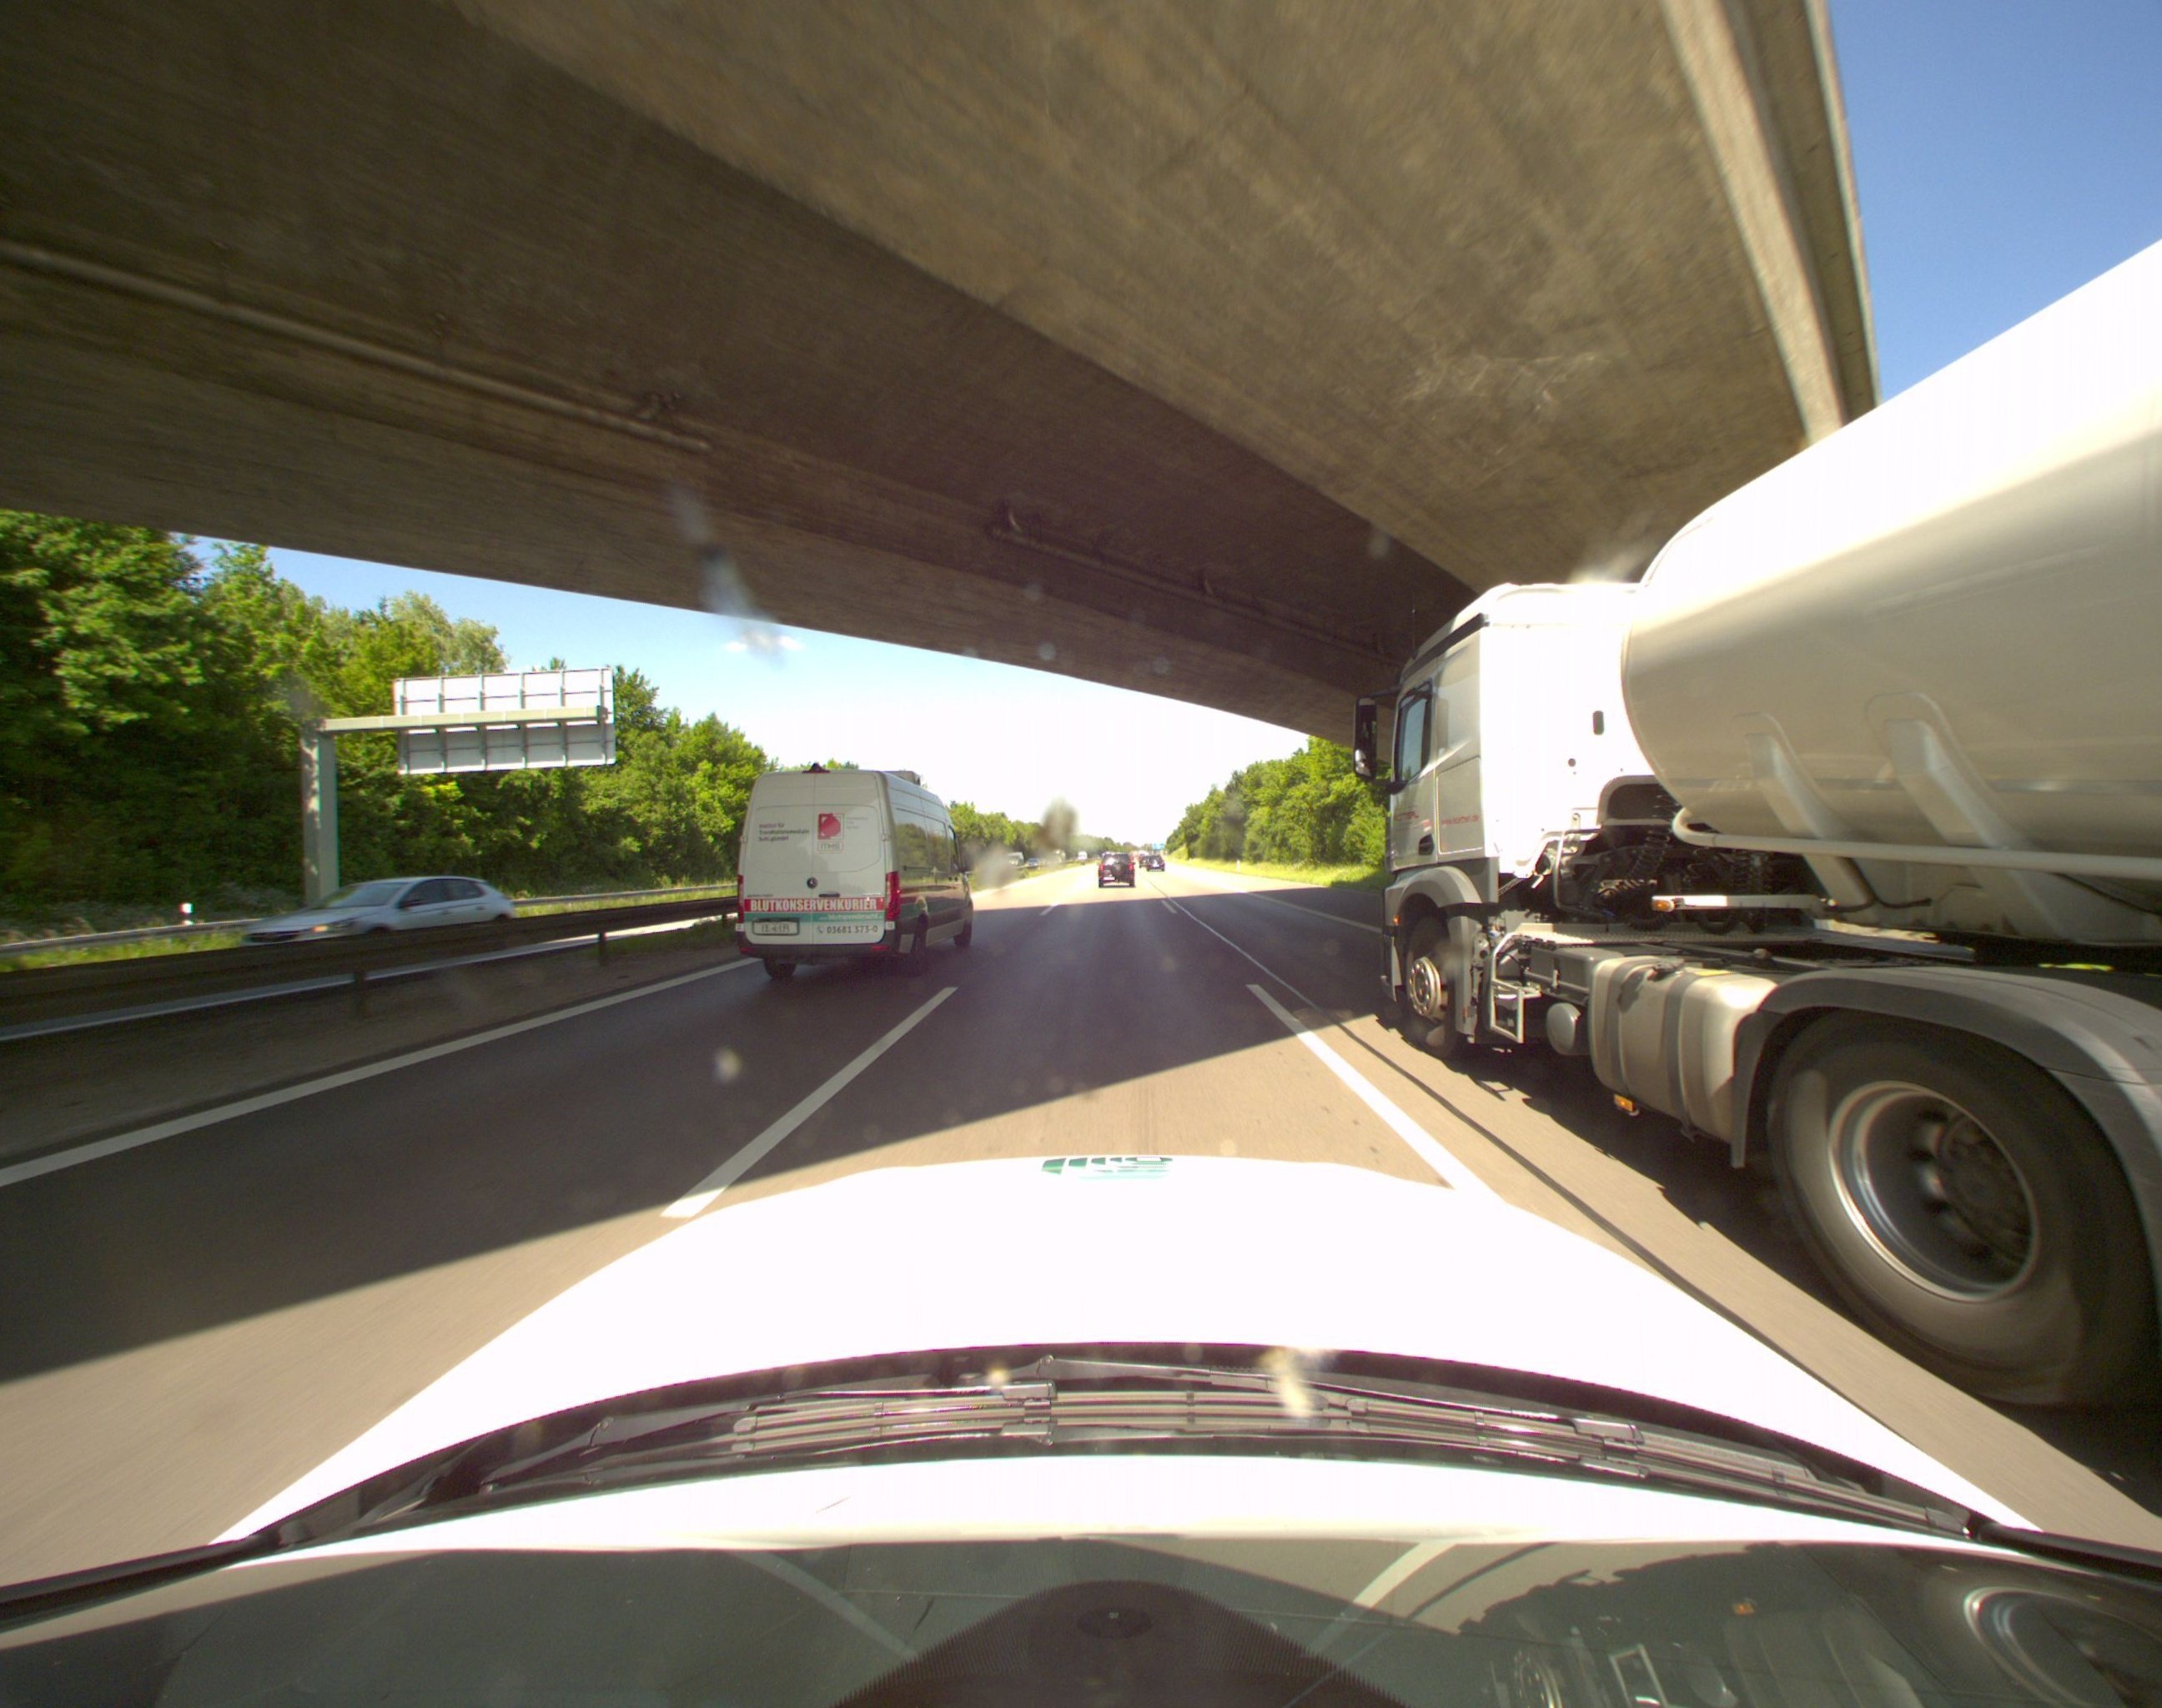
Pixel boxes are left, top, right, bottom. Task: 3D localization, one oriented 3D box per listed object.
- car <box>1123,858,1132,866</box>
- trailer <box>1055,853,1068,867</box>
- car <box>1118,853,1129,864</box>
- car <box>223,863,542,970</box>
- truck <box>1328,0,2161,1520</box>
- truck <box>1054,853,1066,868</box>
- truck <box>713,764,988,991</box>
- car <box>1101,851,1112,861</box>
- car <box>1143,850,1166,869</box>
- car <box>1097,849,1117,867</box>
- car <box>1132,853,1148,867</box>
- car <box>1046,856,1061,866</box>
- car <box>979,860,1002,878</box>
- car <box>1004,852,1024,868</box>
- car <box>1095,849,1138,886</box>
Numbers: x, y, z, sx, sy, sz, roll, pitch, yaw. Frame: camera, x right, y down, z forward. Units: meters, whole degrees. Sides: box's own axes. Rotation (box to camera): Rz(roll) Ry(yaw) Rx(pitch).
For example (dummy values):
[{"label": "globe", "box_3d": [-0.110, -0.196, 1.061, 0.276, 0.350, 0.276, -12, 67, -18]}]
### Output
[{"label": "car", "box_3d": [11.554, 1.960, 200.804, 1.987, 1.750, 4.205, -2, 0, 1]}, {"label": "trailer", "box_3d": [-5.547, 1.716, 231.275, 2.755, 3.882, 9.462, -4, 0, 2]}, {"label": "car", "box_3d": [8.645, 0.894, 167.039, 1.986, 2.013, 4.769, -2, 0, 1]}, {"label": "car", "box_3d": [-11.809, 0.955, 14.264, 1.676, 1.481, 4.350, -2, 0, 2]}, {"label": "truck", "box_3d": [3.661, -0.314, 4.821, 2.628, 3.374, 6.491, -1, 0, 2]}, {"label": "truck", "box_3d": [-5.689, 1.706, 226.049, 2.721, 3.882, 6.324, -4, 0, 2]}, {"label": "truck", "box_3d": [-2.980, 0.264, 12.499, 1.985, 2.542, 6.697, 0, 0, 3]}, {"label": "car", "box_3d": [5.545, 0.379, 176.416, 1.984, 2.013, 4.956, -3, 0, 5]}, {"label": "car", "box_3d": [7.153, 0.574, 79.188, 1.986, 1.684, 4.002, -2, -1, 2]}, {"label": "car", "box_3d": [2.686, 0.388, 84.581, 1.986, 1.706, 4.338, -3, 0, 2]}, {"label": "car", "box_3d": [7.177, 0.799, 99.554, 1.835, 1.611, 4.001, -2, -1, 2]}, {"label": "car", "box_3d": [-4.786, 1.262, 141.410, 1.984, 1.608, 4.653, -2, 0, 4]}, {"label": "car", "box_3d": [-11.148, 1.829, 100.734, 1.986, 2.096, 5.252, -2, -1, 2]}, {"label": "car", "box_3d": [-9.743, 0.902, 118.168, 1.985, 2.235, 6.521, -2, -1, 3]}, {"label": "car", "box_3d": [1.698, 0.674, 40.082, 1.900, 1.665, 3.999, -2, -1, 0]}]
